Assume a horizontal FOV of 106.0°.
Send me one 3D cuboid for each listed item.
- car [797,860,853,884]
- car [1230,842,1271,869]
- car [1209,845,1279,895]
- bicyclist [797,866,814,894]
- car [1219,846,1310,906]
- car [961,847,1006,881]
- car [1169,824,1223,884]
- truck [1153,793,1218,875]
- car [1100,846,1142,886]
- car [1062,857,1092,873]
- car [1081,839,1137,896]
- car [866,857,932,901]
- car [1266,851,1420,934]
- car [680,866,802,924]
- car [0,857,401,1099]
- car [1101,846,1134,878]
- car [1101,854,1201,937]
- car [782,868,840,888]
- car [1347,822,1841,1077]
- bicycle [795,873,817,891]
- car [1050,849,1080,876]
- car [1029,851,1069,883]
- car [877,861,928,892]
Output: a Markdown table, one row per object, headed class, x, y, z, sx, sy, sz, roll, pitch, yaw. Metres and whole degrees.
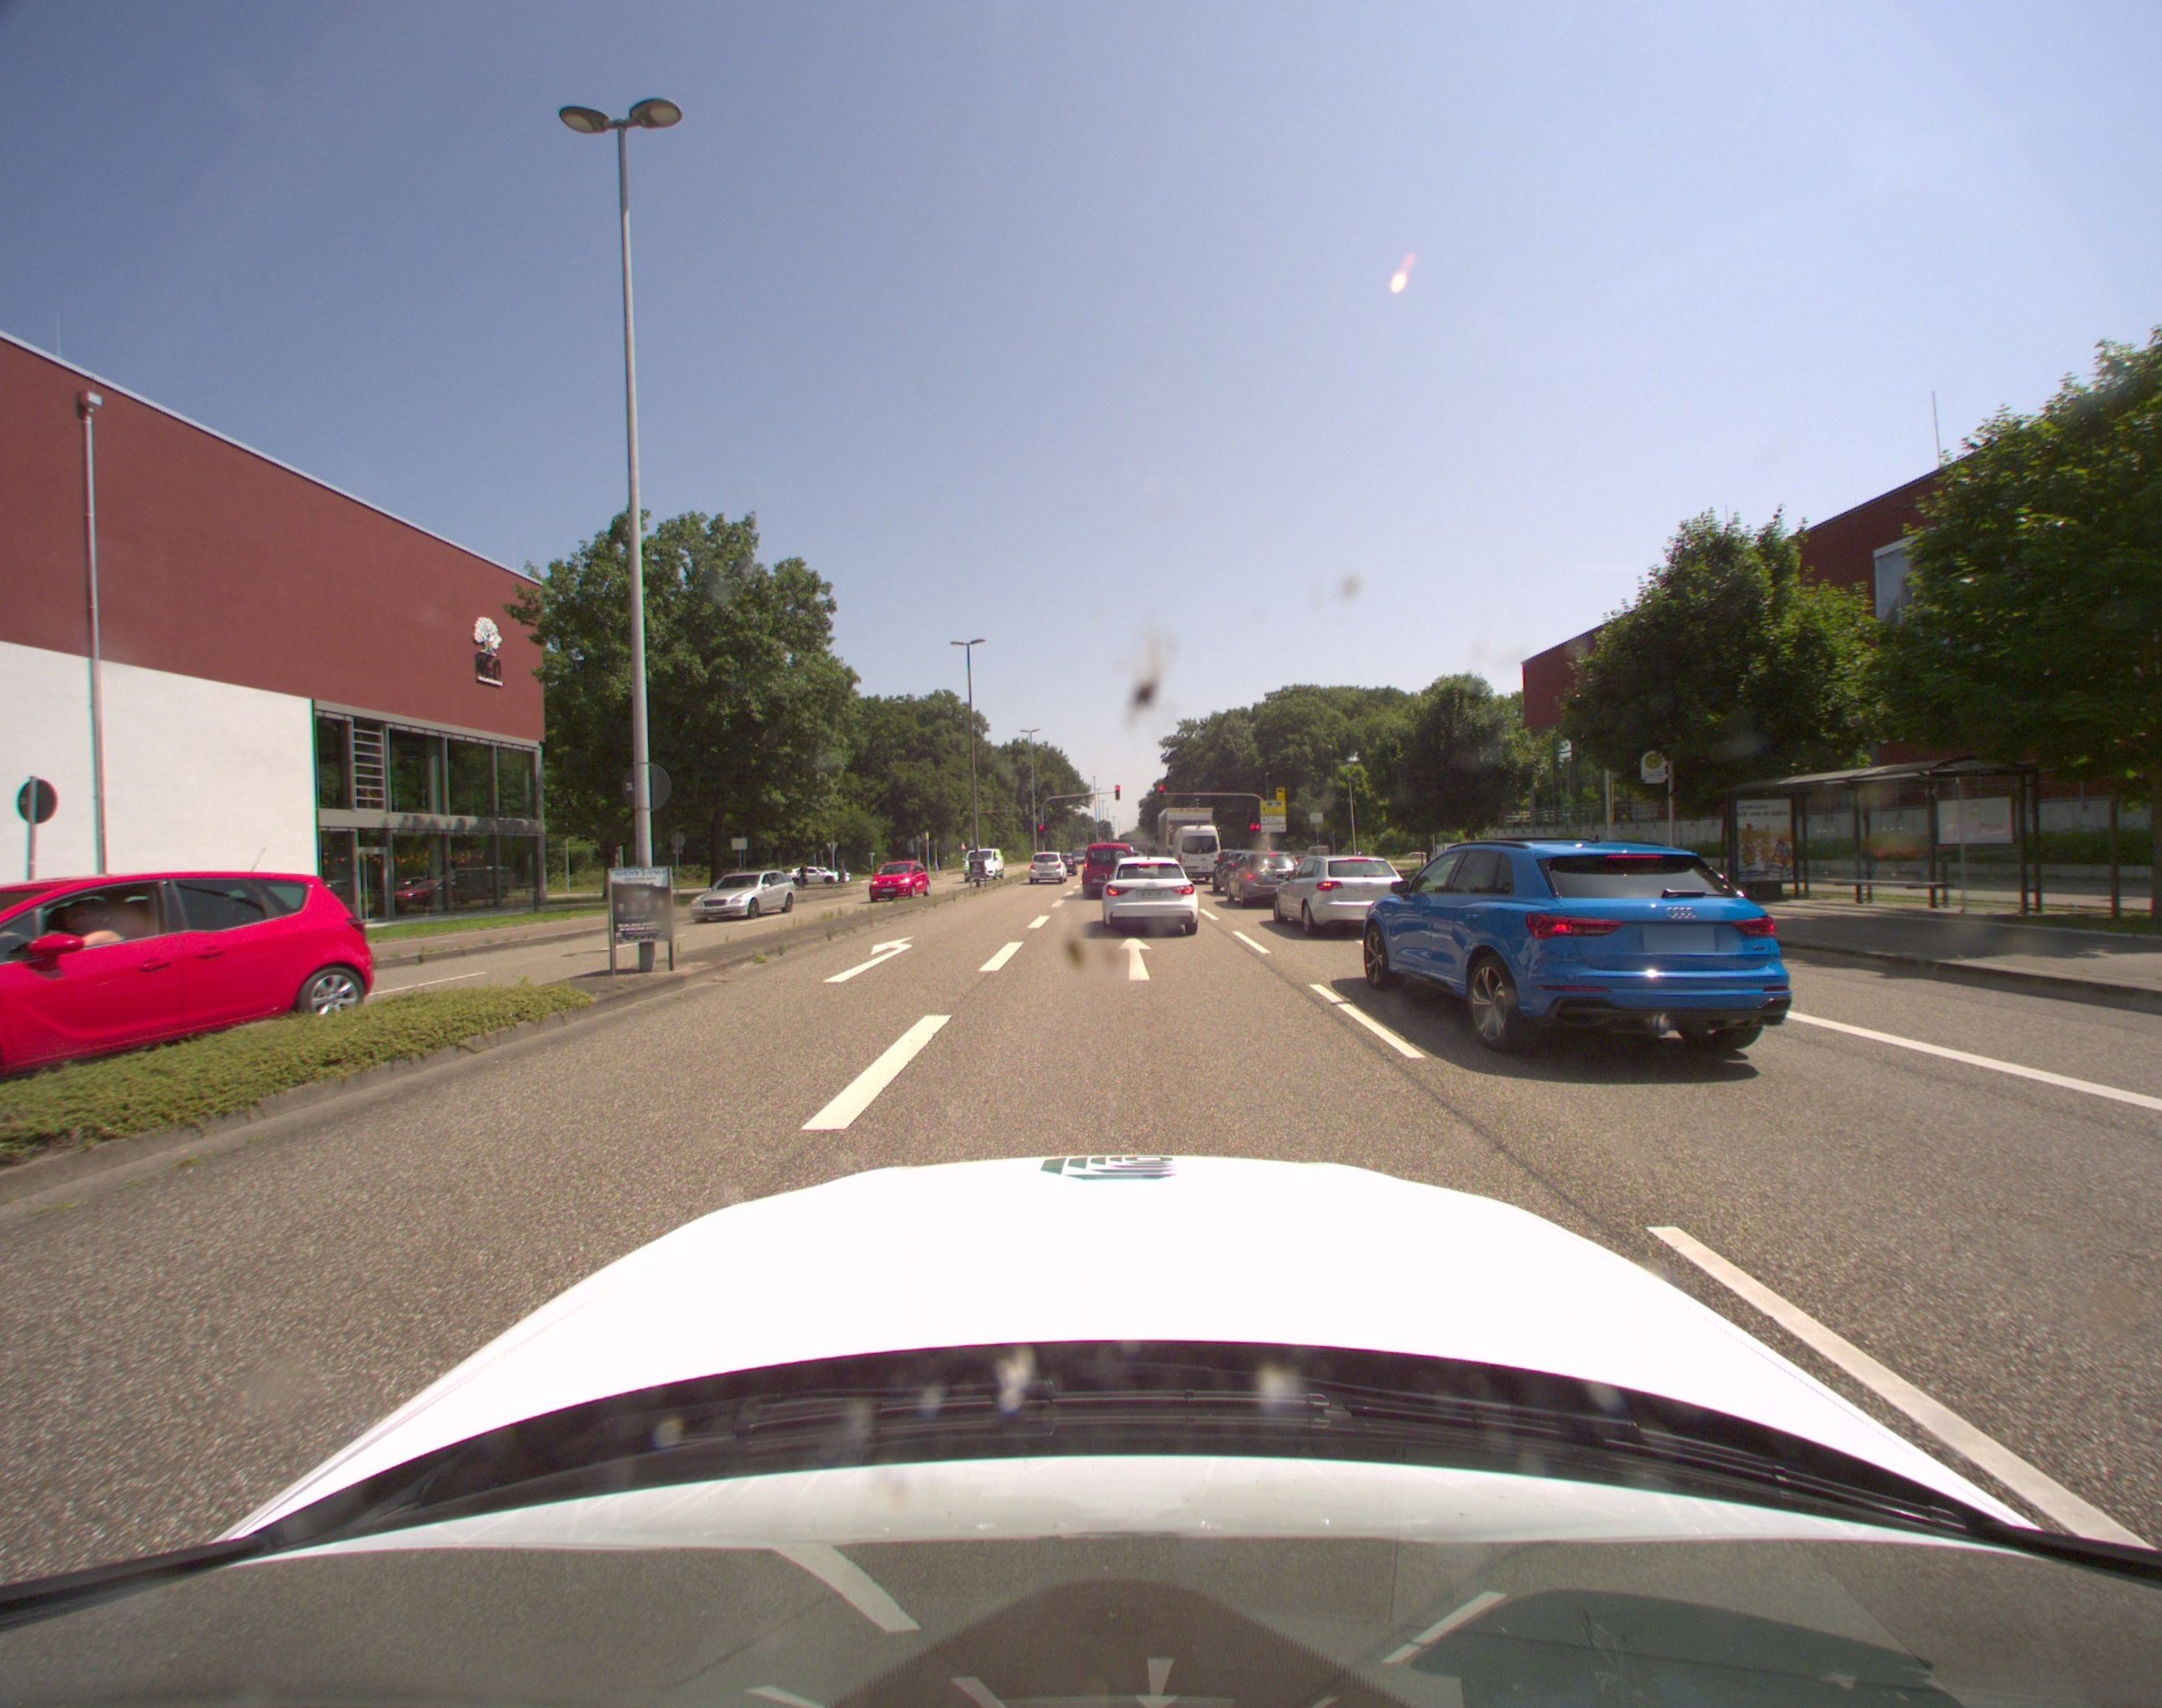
| class | x | y | z | sx | sy | sz | roll | pitch | yaw |
| --- | --- | --- | --- | --- | --- | --- | --- | --- | --- |
| car | -23.208 | 1.625 | 73.968 | 4.365 | 1.681 | 1.807 | -6 | 0 | -6 |
| car | 10.133 | 0.077 | 48.894 | 1.705 | 1.546 | 4.093 | -1 | 0 | 1 |
| car | 5.629 | 0.530 | 28.627 | 1.705 | 1.593 | 4.093 | -1 | 0 | 1 |
| bicyclist | -17.577 | 1.645 | 51.927 | 0.647 | 1.770 | 0.928 | -2 | 0 | 3 |
| car | 5.041 | 0.560 | 22.855 | 1.705 | 1.478 | 4.093 | 1 | 0 | 1 |
| car | -6.104 | 0.594 | 51.589 | 1.986 | 1.945 | 4.910 | -4 | 0 | 2 |
| car | 5.397 | -0.008 | 38.721 | 2.023 | 2.644 | 4.848 | -1 | 0 | 2 |
| truck | 6.170 | -1.107 | 49.927 | 3.076 | 4.434 | 11.589 | -1 | 0 | 3 |
| car | 1.718 | 0.484 | 35.980 | 1.705 | 1.631 | 4.093 | -1 | 0 | 1 |
| car | -0.465 | 1.208 | 89.379 | 1.880 | 1.689 | 3.971 | -2 | 0 | -21 |
| car | 0.925 | 0.431 | 27.590 | 1.705 | 1.748 | 4.093 | -1 | 0 | 1 |
| car | -6.917 | 0.924 | 31.327 | 1.575 | 1.441 | 3.610 | -4 | 0 | 1 |
| car | 4.806 | 0.634 | 15.519 | 1.705 | 1.362 | 4.093 | 0 | 0 | 1 |
| car | -10.382 | 1.190 | 25.257 | 1.771 | 1.404 | 4.361 | -5 | 0 | 1 |
| car | -8.006 | 0.894 | 6.322 | 1.742 | 1.569 | 4.155 | -4 | 0 | 2 |
| car | 1.960 | 0.395 | 44.793 | 1.705 | 1.631 | 4.093 | -1 | 0 | 1 |
| car | 1.263 | 0.717 | 16.165 | 1.705 | 1.386 | 4.093 | -1 | 0 | 1 |
| car | -23.092 | 2.028 | 69.836 | 4.364 | 1.681 | 1.807 | 0 | -1 | -6 |
| car | 4.004 | 0.603 | 7.421 | 1.830 | 1.596 | 4.402 | -1 | 0 | 2 |
| bicycle | -17.564 | 1.793 | 51.978 | 0.652 | 1.051 | 1.886 | -2 | 0 | 3 |
| car | -1.018 | 0.520 | 53.486 | 1.768 | 1.641 | 4.038 | -1 | 0 | 1 |
| car | -1.528 | 0.605 | 40.467 | 1.705 | 1.492 | 4.093 | -1 | 0 | 1 |
| car | -9.788 | 1.199 | 44.930 | 1.699 | 1.452 | 3.894 | -5 | 0 | 3 |
